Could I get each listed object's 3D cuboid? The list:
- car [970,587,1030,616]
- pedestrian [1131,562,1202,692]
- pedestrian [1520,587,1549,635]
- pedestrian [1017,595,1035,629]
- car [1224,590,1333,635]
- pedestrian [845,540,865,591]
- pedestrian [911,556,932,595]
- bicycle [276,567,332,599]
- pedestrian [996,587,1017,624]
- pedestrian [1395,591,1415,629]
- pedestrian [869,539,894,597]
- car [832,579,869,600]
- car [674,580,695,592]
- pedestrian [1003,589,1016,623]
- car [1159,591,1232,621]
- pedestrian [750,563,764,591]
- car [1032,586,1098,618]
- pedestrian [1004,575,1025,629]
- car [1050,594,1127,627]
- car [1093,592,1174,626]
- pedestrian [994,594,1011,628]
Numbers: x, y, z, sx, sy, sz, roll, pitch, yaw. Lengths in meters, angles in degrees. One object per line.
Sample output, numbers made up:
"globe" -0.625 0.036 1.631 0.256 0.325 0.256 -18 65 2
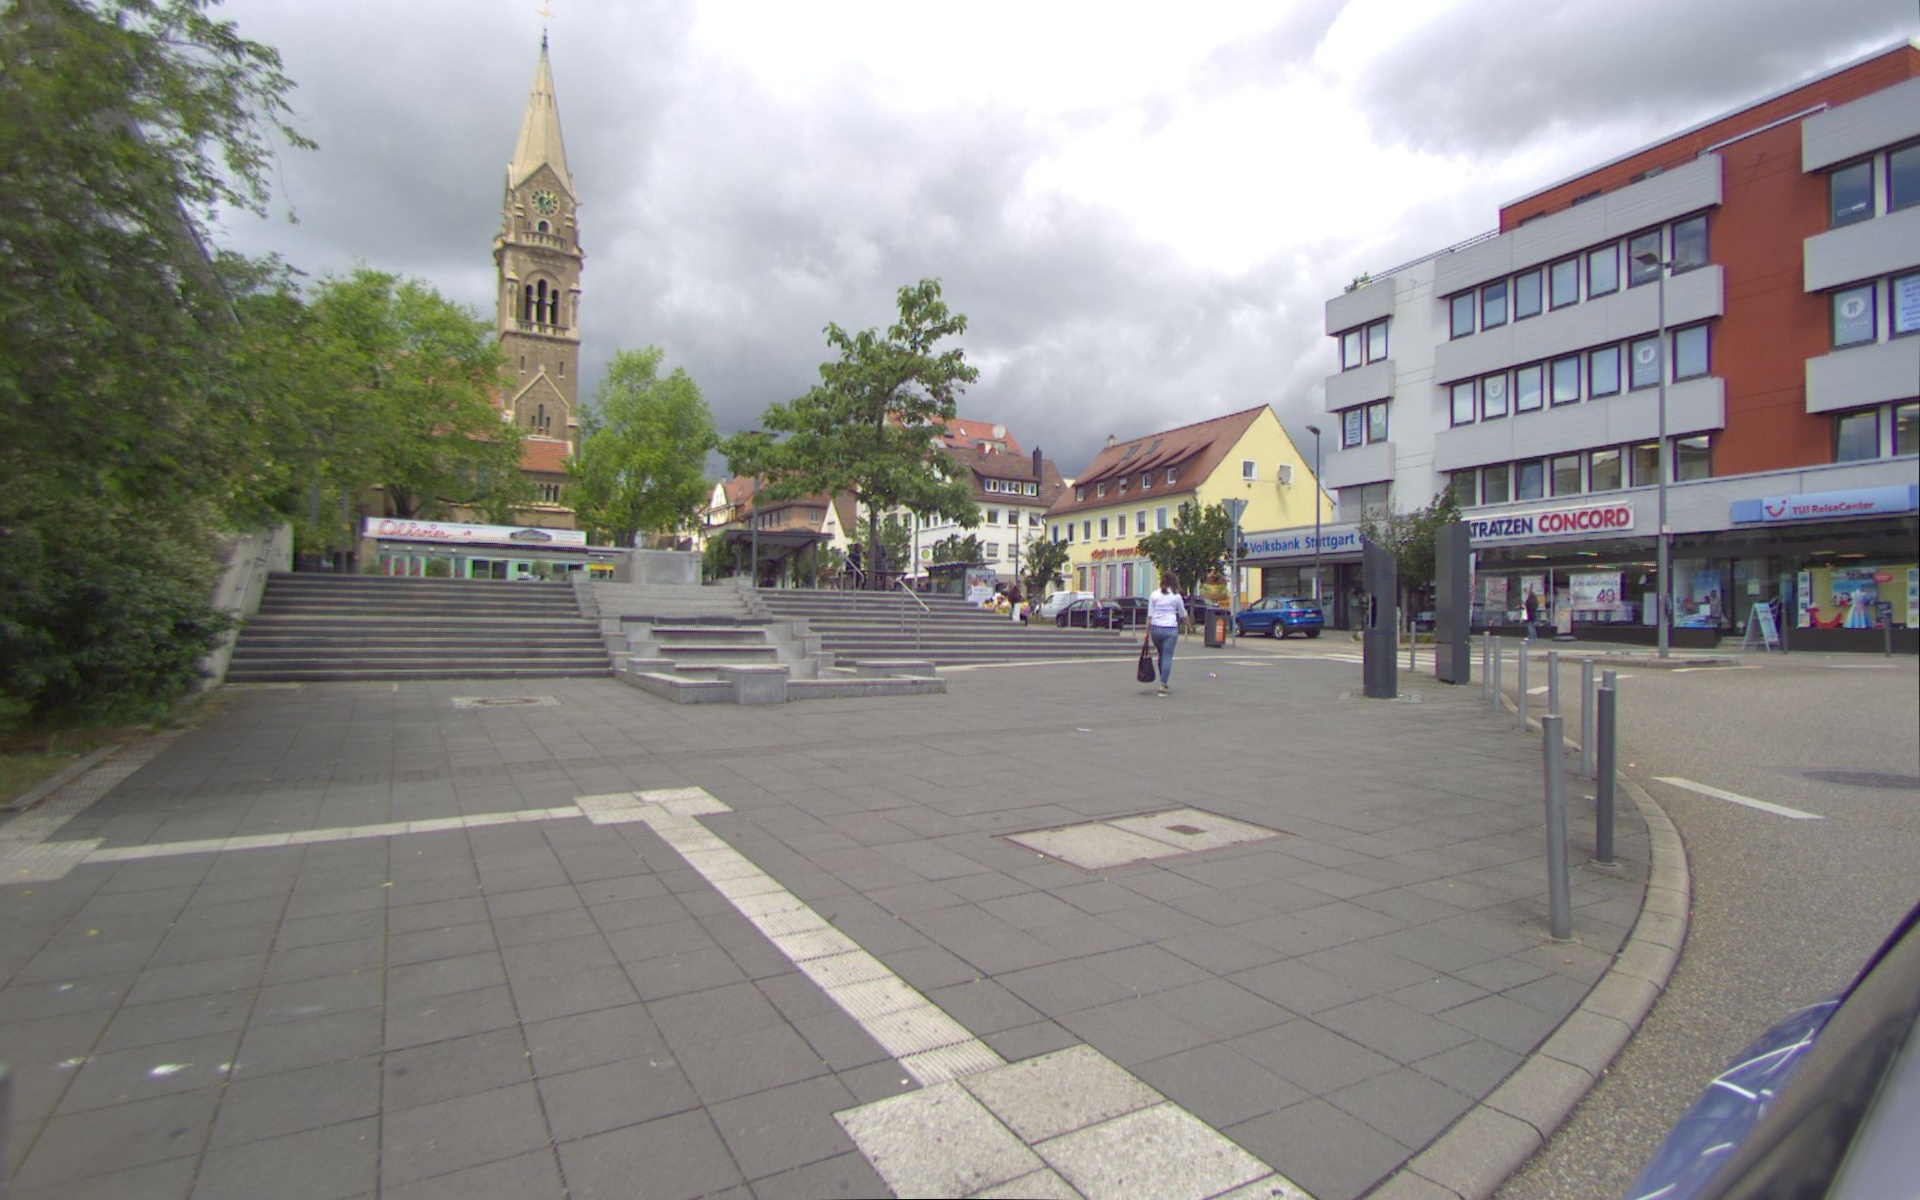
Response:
"car" 2.387 0.077 61.139 1.628 1.693 4.356 0 1 -28
"pedestrian" 2.918 0.369 14.263 0.703 1.768 0.766 1 -1 37
"pedestrian" 19.391 0.365 34.153 0.576 1.608 0.640 0 0 -25
"pedestrian" 2.358 0.442 36.388 0.466 1.187 0.391 4 -2 -21
"car" 12.491 0.442 39.980 1.664 1.619 4.340 -2 1 -22
"pedestrian" -2.749 -0.906 26.574 0.356 1.302 0.642 2 -2 -19
"pedestrian" -1.700 -1.068 44.289 0.784 1.658 0.688 2 -1 -10
"bicycle" -29.743 -0.778 45.911 0.682 1.324 2.003 1 -3 32
"pedestrian" 1.756 0.203 38.010 0.595 1.320 0.428 3 -1 32
"pedestrian" 20.324 0.461 46.254 0.632 1.727 0.586 3 -4 -34
"pedestrian" -2.089 -0.844 26.917 0.493 1.528 0.455 2 -2 -22
"car" -8.972 -0.845 82.860 1.637 1.667 4.140 0 1 -27
"car" -35.260 -1.809 129.635 1.698 1.449 3.508 1 2 -30
"pedestrian" 1.786 0.221 36.414 0.383 1.214 0.511 3 -1 1
"car" 12.819 0.322 55.071 3.564 1.578 1.671 0 0 -26
"pedestrian" -9.008 -1.015 44.891 0.557 1.243 0.567 1 -1 -15
"car" 6.173 0.076 59.855 1.726 1.836 4.483 0 1 -27
"pedestrian" 1.916 0.072 35.889 0.530 1.846 0.436 3 -2 -17
"car" 5.932 0.462 47.028 1.668 1.437 4.127 0 1 -24
"car" 8.647 0.416 50.585 3.663 1.543 1.897 1 2 -2
"pedestrian" 1.503 0.372 35.504 0.431 1.163 0.384 3 -1 -20
